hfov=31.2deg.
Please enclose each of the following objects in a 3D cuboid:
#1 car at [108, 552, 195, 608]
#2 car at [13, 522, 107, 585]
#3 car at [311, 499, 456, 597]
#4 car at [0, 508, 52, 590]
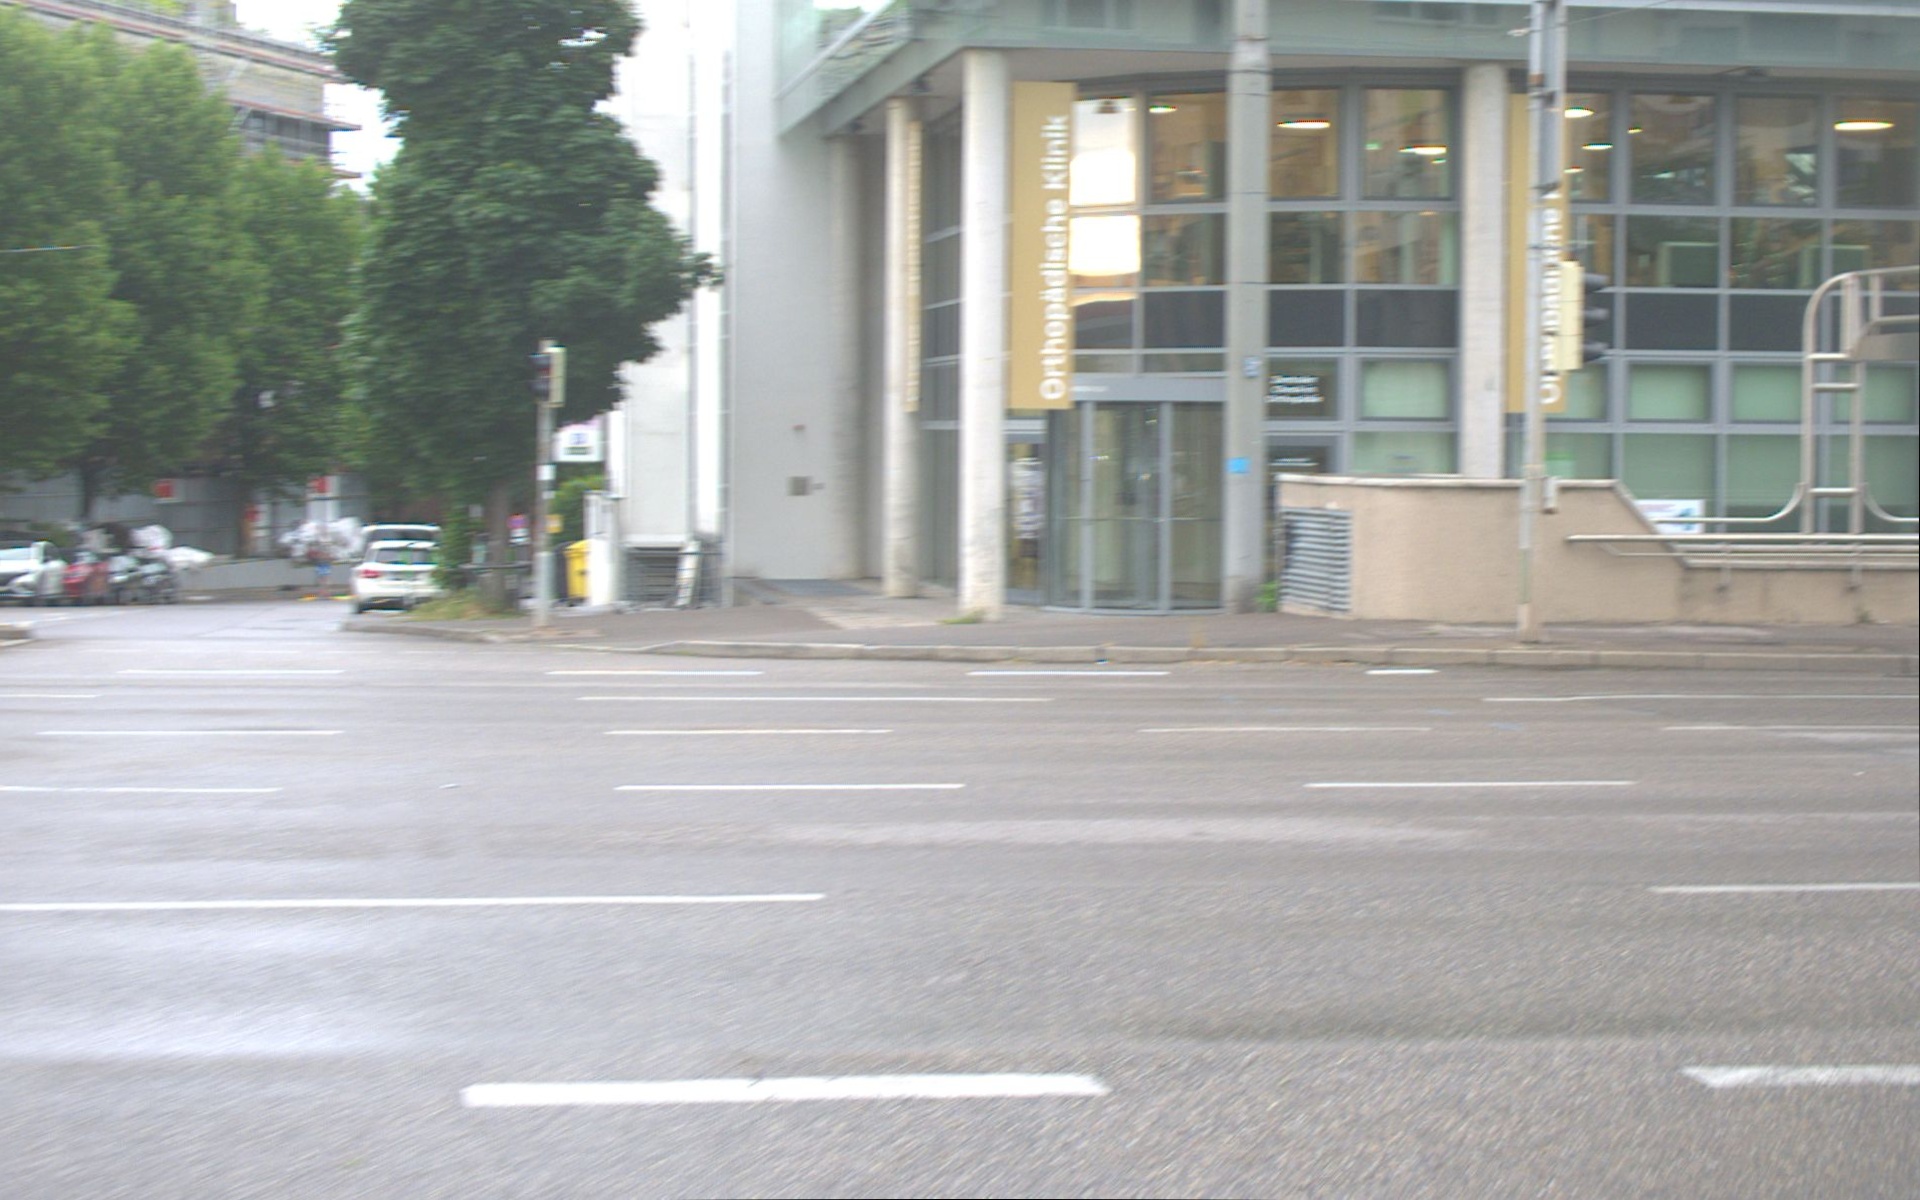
[{"bbox_3d":[-24.212,-0.615,103.069,1.679,1.588,3.672,2,0,0],"label":"car"},{"bbox_3d":[-24.309,-1.250,92.948,1.679,1.588,3.857,2,0,-3],"label":"car"},{"bbox_3d":[-10.835,-0.981,64.401,1.993,1.711,4.001,2,0,-19],"label":"car"},{"bbox_3d":[-24.450,-1.323,87.872,1.993,2.007,4.001,2,0,-10],"label":"car"}]
